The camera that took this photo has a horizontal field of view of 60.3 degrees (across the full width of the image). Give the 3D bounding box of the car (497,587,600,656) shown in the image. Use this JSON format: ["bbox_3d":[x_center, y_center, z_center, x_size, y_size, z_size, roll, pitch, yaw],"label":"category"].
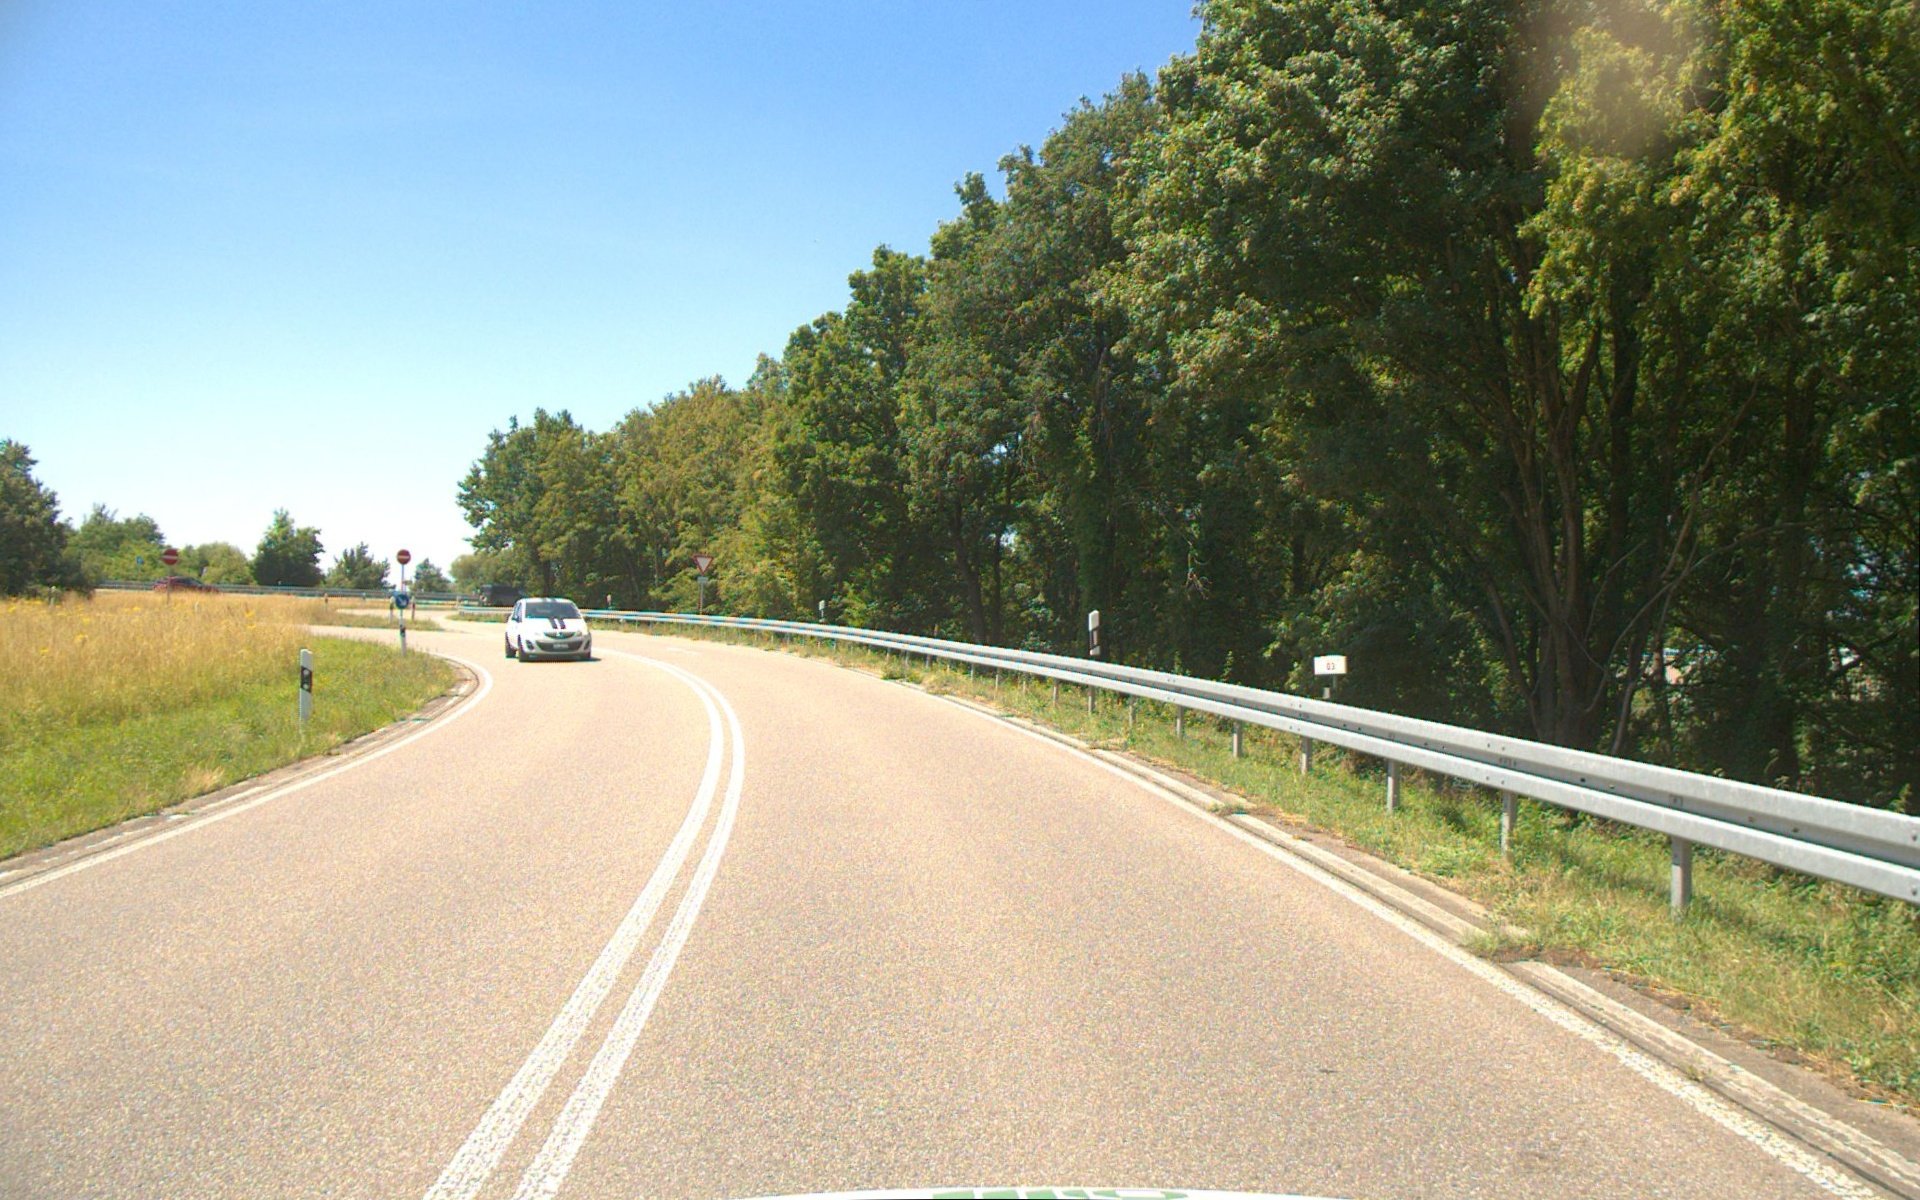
[{"bbox_3d":[-10.072,0.492,40.291,1.798,1.533,4.142,2,0,-23],"label":"car"}]
